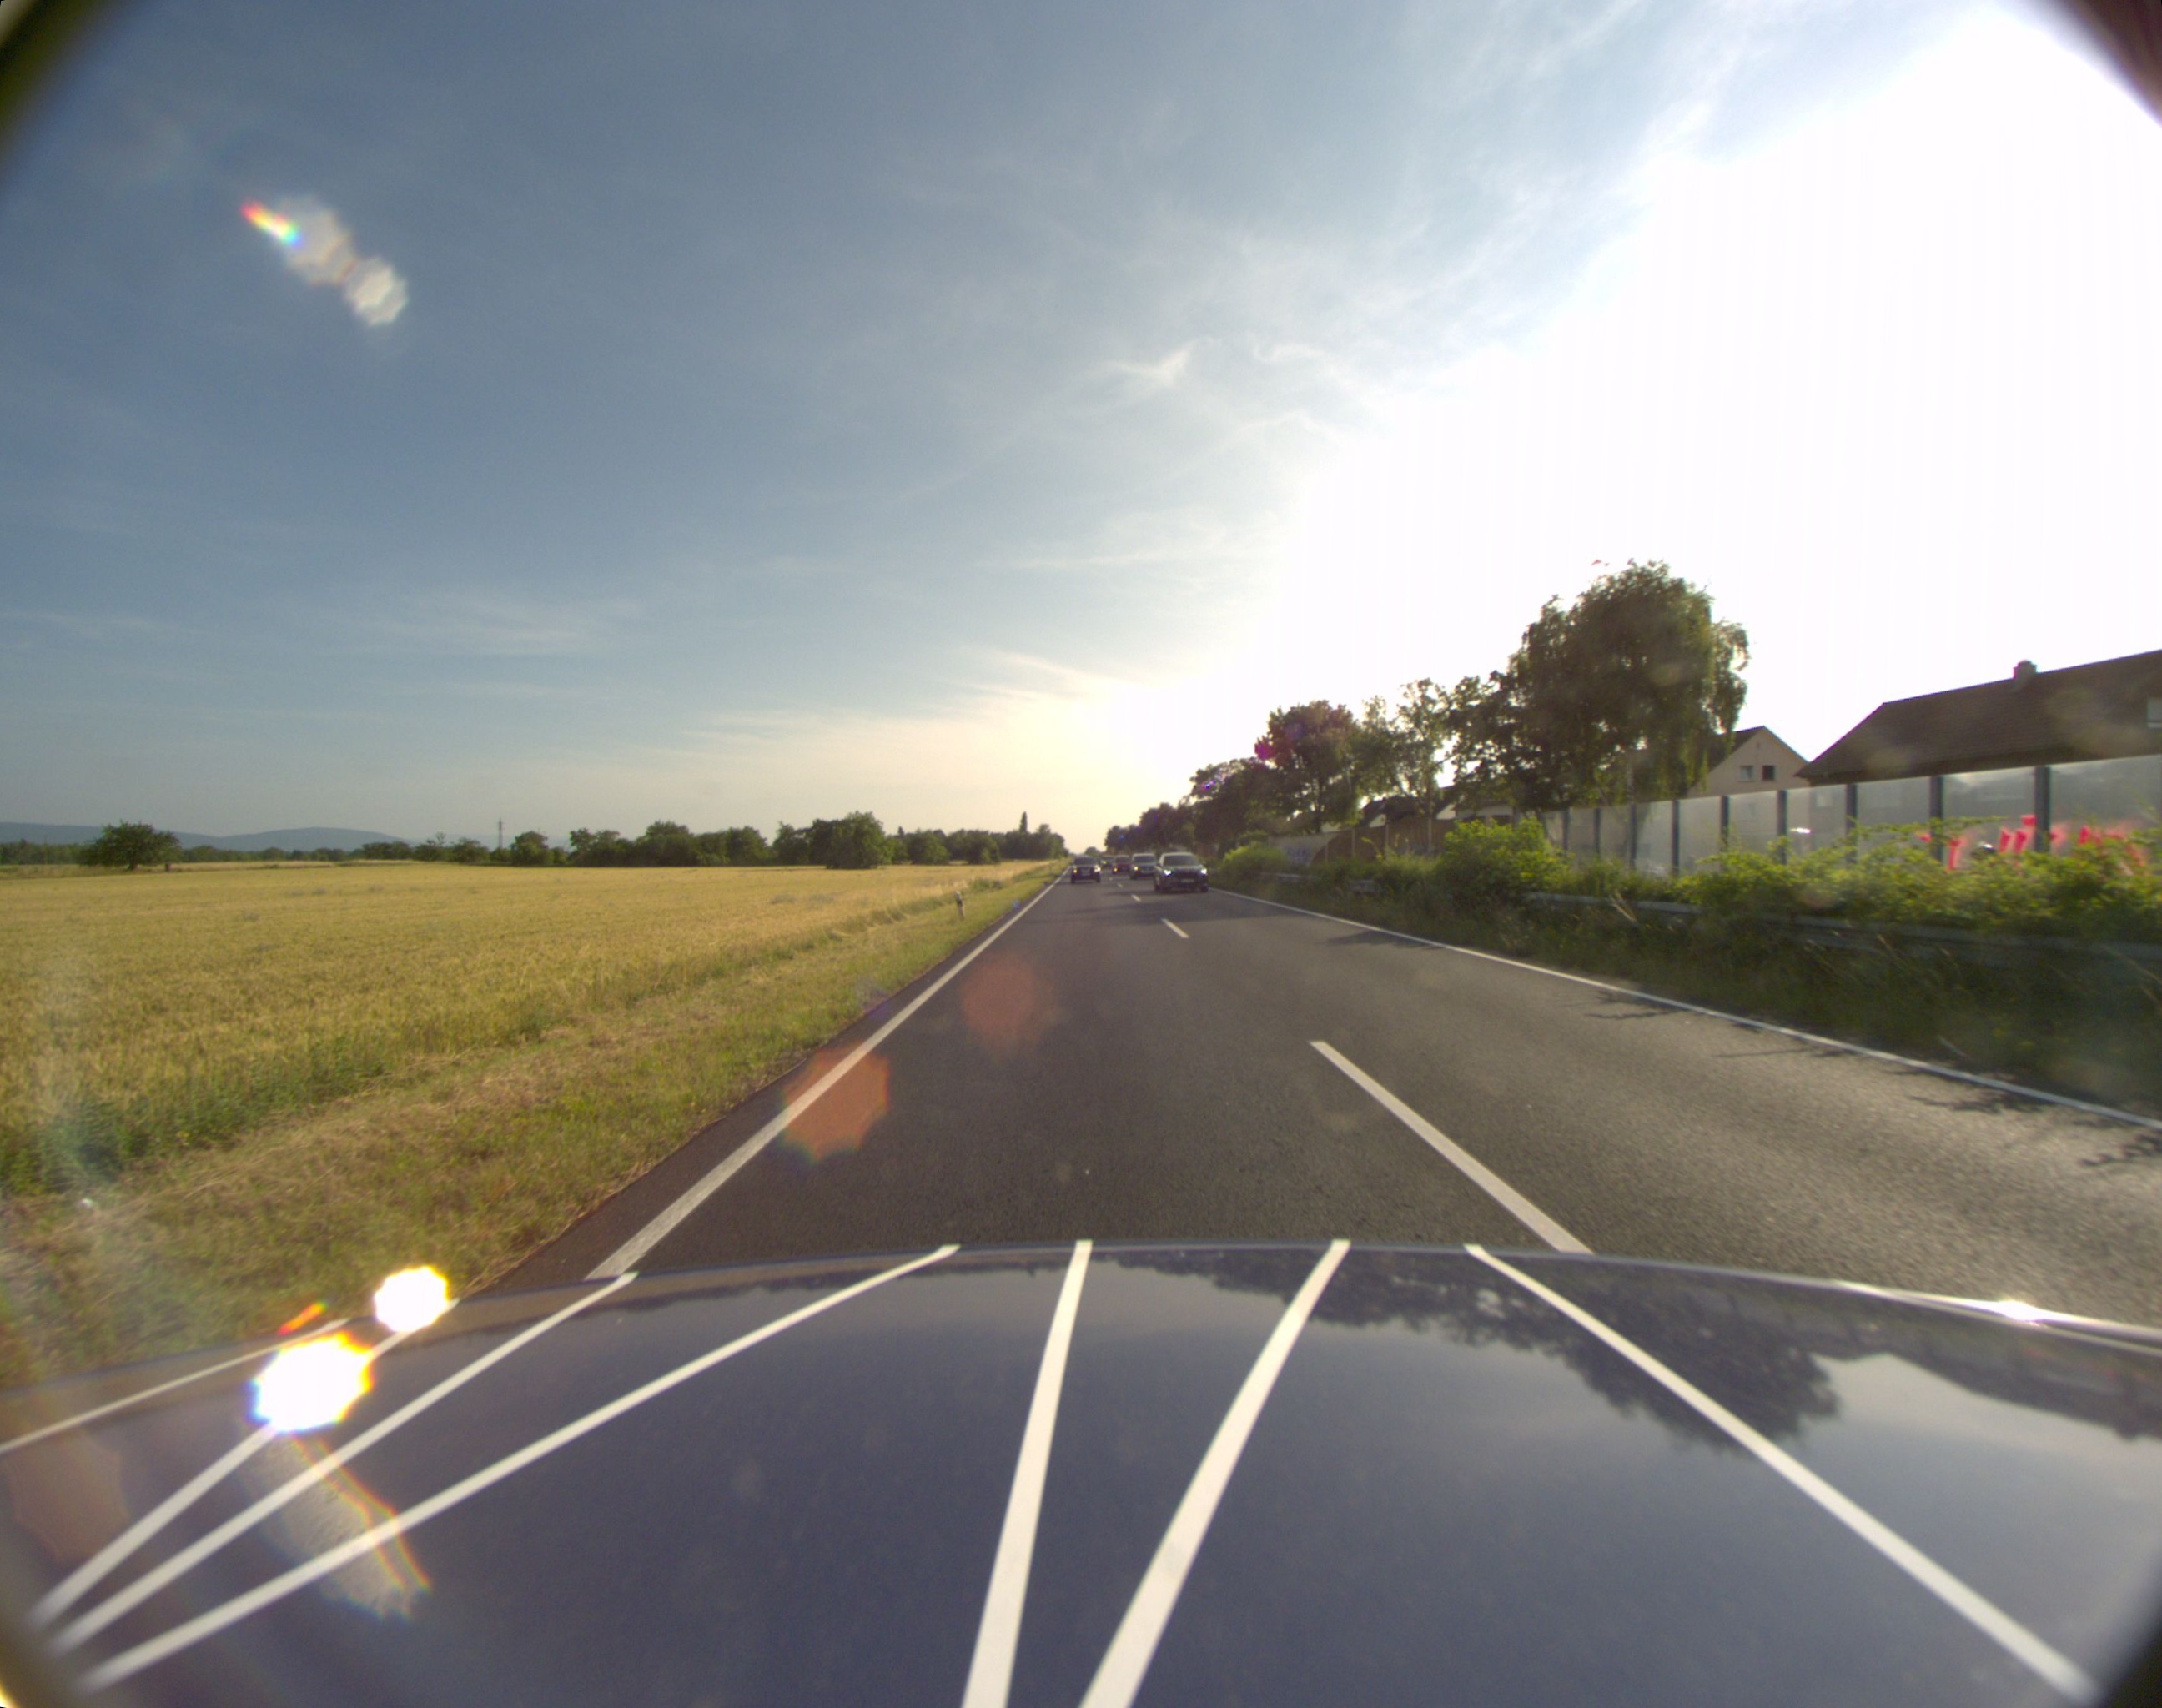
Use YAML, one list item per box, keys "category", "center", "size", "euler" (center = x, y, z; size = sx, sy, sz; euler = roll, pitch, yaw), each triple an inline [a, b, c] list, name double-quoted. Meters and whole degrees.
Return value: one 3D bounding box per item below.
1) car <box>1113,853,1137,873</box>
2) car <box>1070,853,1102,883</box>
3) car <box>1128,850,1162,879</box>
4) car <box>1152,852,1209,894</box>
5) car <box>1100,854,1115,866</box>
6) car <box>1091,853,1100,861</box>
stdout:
- category: "car"
  center: [3.880, 0.763, 67.348]
  size: [1.822, 1.661, 3.999]
  euler: [-2, 1, 0]
- category: "car"
  center: [0.293, 0.797, 45.877]
  size: [1.822, 1.661, 3.999]
  euler: [-2, 1, 0]
- category: "car"
  center: [4.149, 0.622, 49.682]
  size: [1.822, 1.724, 3.999]
  euler: [-2, 1, 1]
- category: "car"
  center: [4.071, 0.725, 31.635]
  size: [1.822, 1.516, 4.246]
  euler: [-2, 1, 1]
- category: "car"
  center: [3.452, 0.819, 99.509]
  size: [1.700, 1.456, 3.646]
  euler: [-2, 1, 0]
- category: "car"
  center: [3.105, 0.638, 162.844]
  size: [1.693, 1.397, 3.999]
  euler: [-2, 1, 0]
